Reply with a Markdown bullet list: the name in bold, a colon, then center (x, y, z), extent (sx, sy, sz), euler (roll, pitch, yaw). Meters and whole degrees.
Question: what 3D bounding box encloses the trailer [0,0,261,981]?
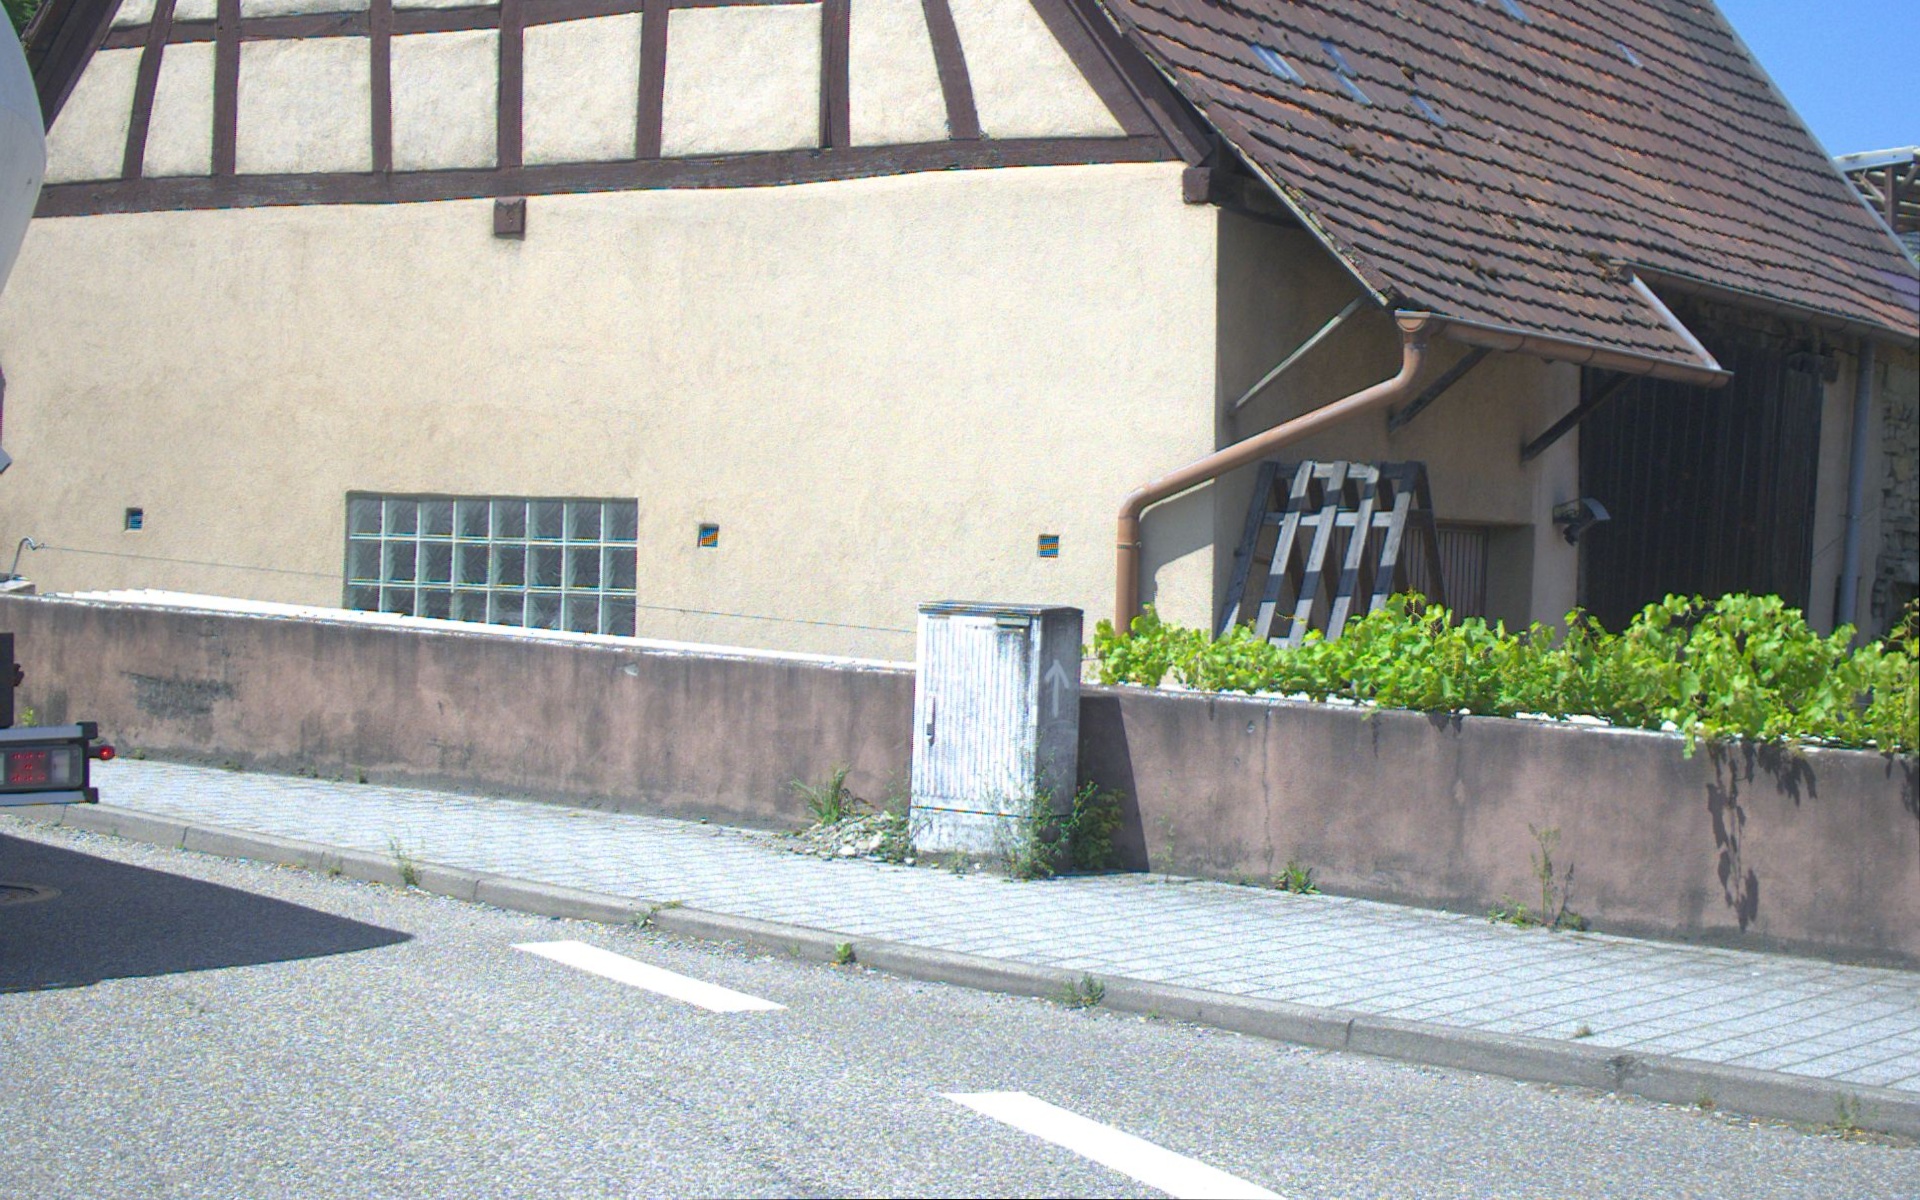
- **trailer**: center (-7.007, -1.060, 14.645), extent (2.953, 3.934, 11.617), euler (2, 1, -38)
